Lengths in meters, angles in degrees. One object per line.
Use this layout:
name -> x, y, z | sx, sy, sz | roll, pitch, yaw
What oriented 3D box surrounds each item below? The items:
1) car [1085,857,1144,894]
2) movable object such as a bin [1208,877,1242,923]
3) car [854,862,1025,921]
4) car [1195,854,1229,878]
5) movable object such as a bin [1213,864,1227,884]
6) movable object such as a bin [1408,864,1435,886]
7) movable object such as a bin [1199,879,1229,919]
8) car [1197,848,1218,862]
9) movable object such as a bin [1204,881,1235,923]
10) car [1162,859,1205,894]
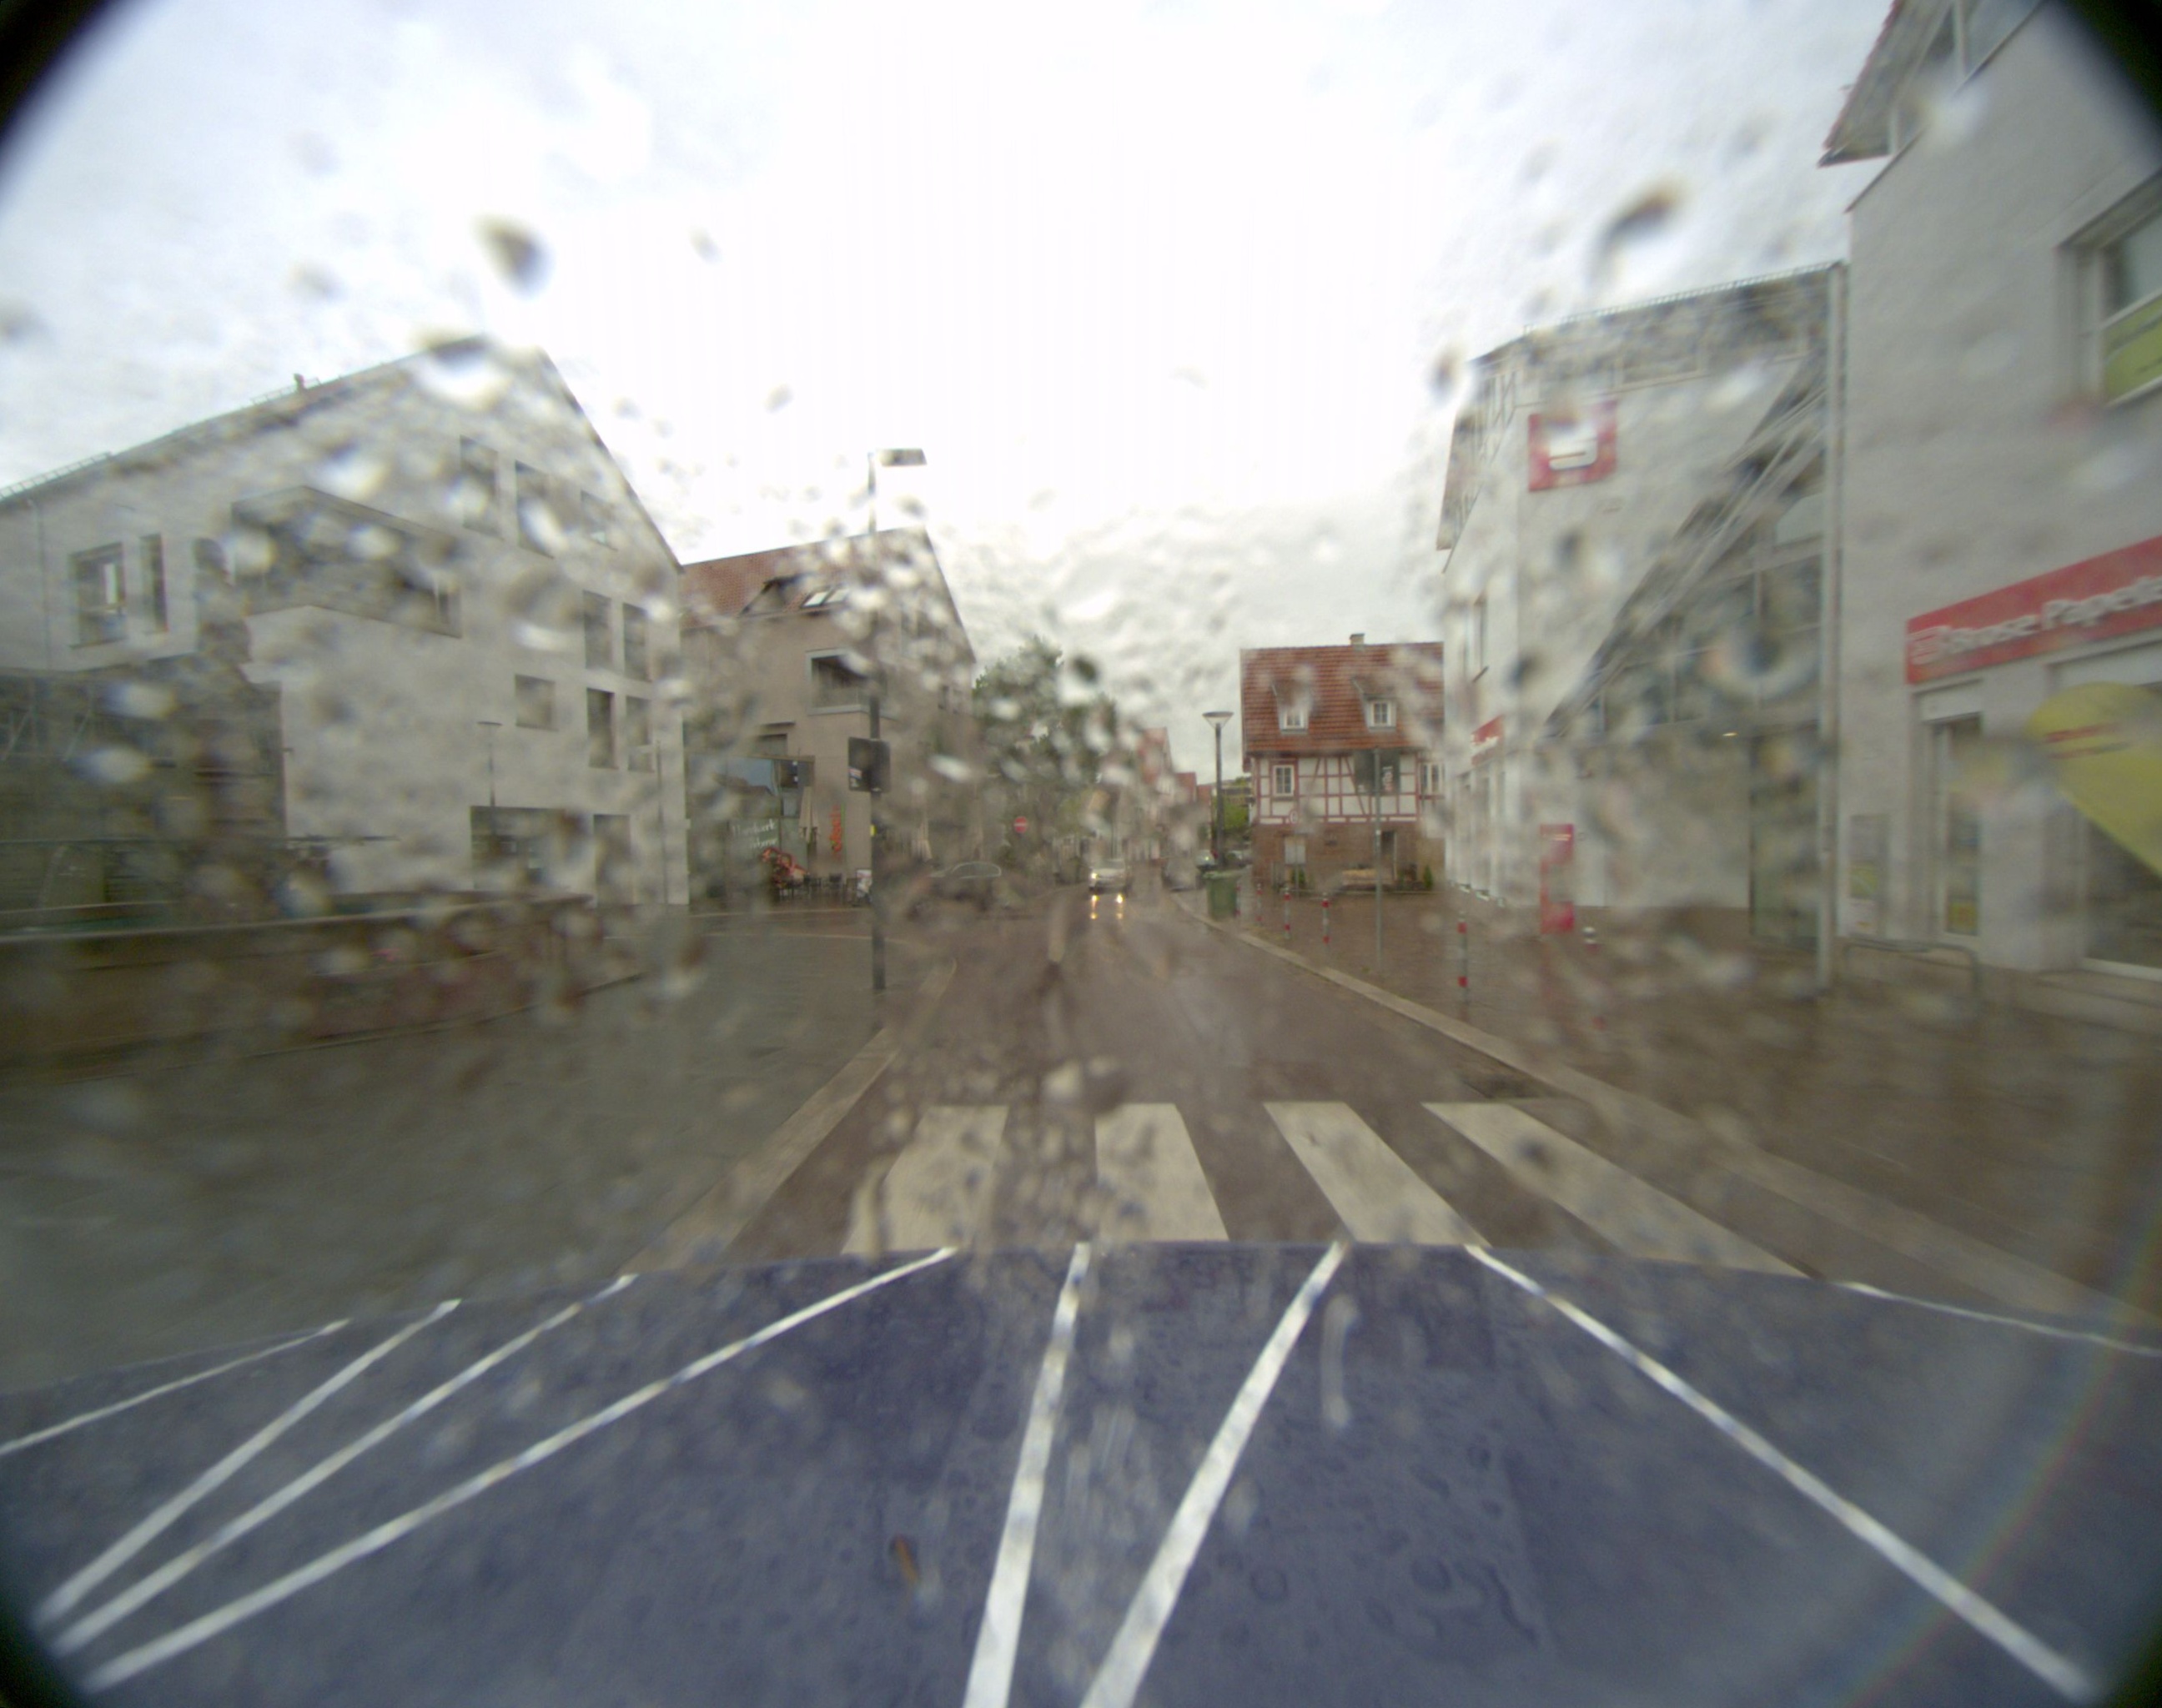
car -> 1.695, 0.957, 36.412 | 1.865, 1.577, 4.619 | 1, 1, 15
movable object such as a bin -> 3.610, 1.150, 19.111 | 0.697, 1.070, 0.645 | -3, 1, 1
car -> -3.823, 0.962, 21.179 | 1.875, 1.362, 4.455 | 0, 1, 41
car -> 8.640, 0.750, 49.771 | 1.805, 1.434, 4.004 | -1, 1, 15
movable object such as a bin -> 7.218, 1.027, 39.497 | 0.612, 1.016, 0.530 | 0, 1, 1
movable object such as a bin -> 13.350, 0.814, 29.821 | 0.709, 0.852, 0.756 | 0, 1, 1
movable object such as a bin -> 3.612, 1.204, 20.683 | 0.697, 1.041, 0.645 | 0, 1, 1
car -> 13.749, 0.058, 82.563 | 1.865, 1.452, 4.004 | 1, 1, 16
movable object such as a bin -> 3.616, 1.242, 19.883 | 0.697, 1.045, 0.645 | 0, 1, 1
car -> 4.775, 1.011, 35.965 | 1.806, 1.434, 4.001 | -2, 1, 5
